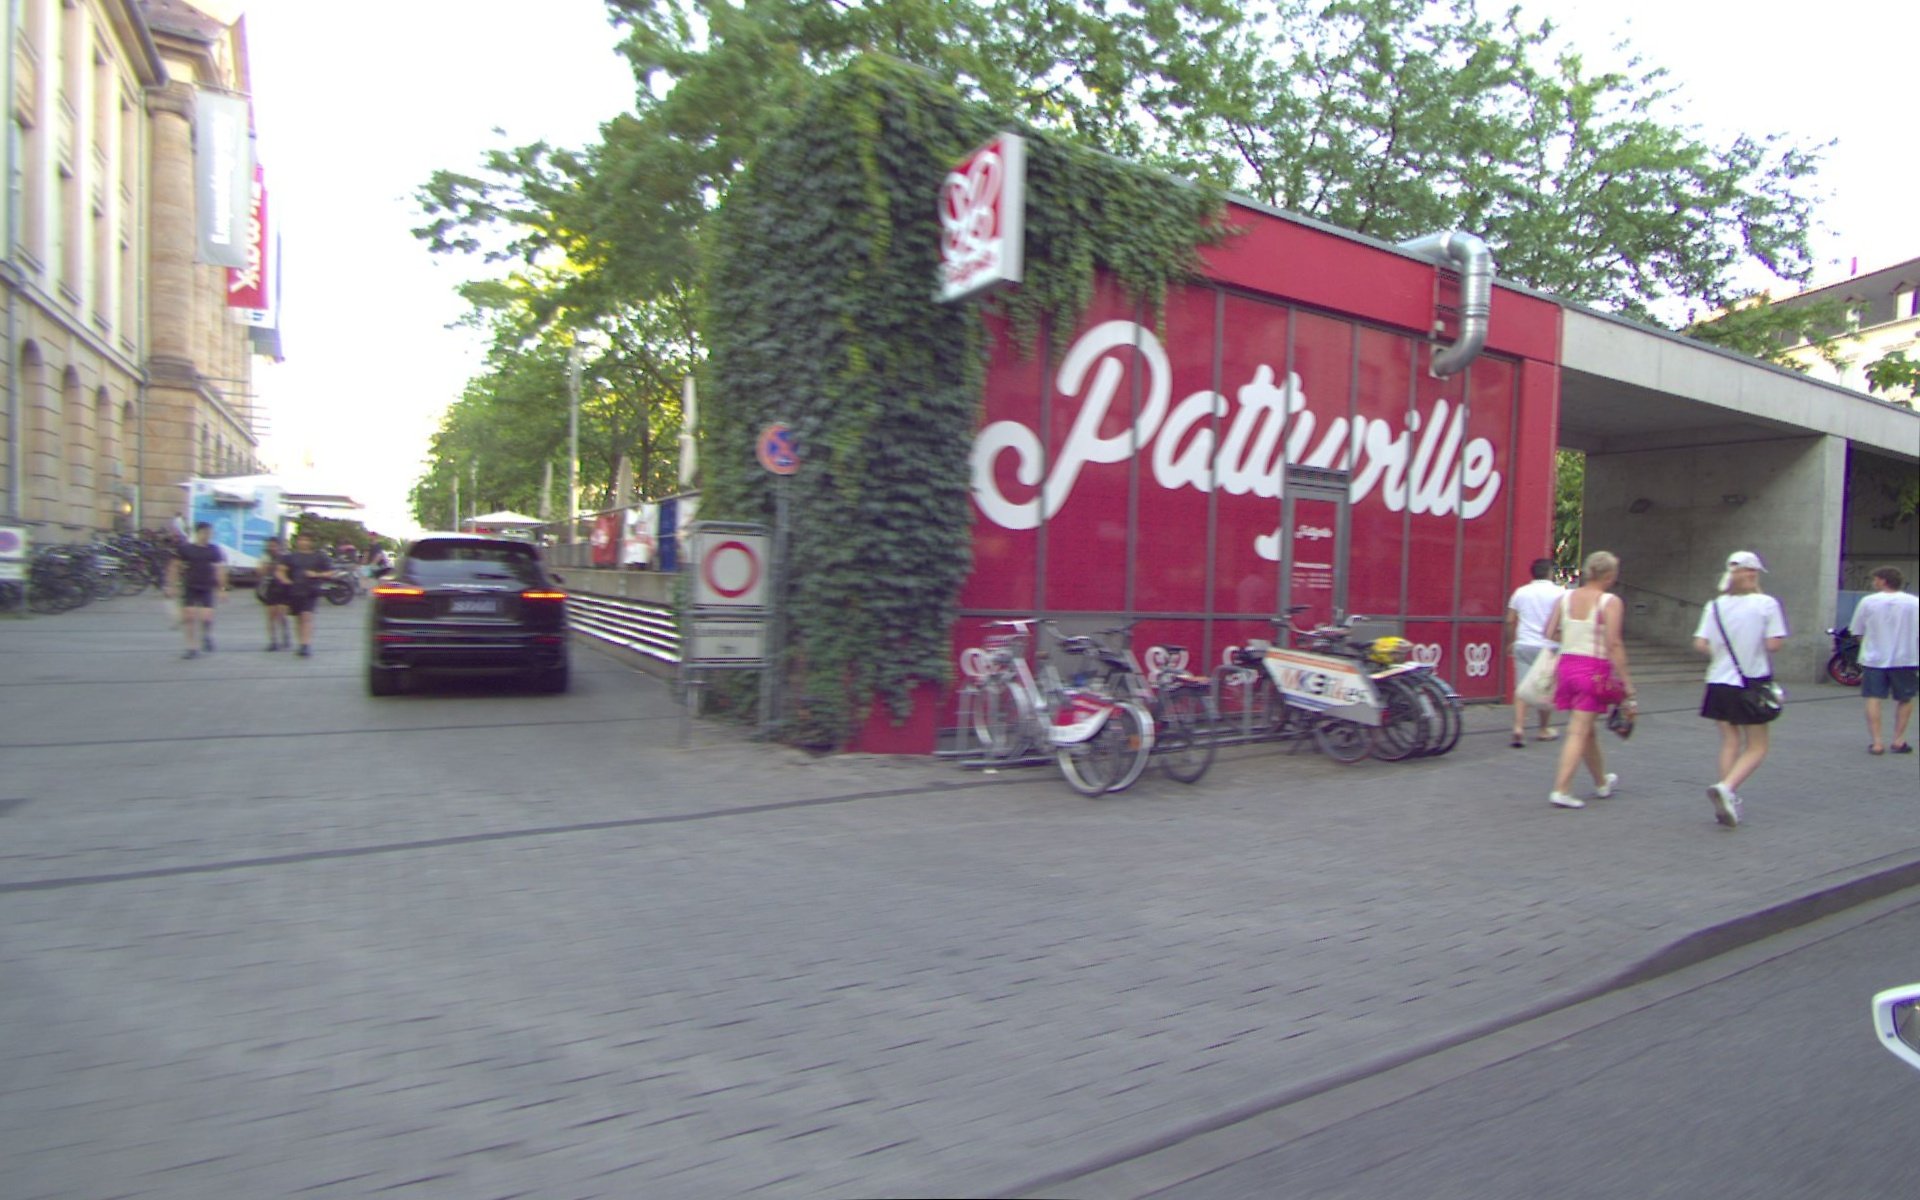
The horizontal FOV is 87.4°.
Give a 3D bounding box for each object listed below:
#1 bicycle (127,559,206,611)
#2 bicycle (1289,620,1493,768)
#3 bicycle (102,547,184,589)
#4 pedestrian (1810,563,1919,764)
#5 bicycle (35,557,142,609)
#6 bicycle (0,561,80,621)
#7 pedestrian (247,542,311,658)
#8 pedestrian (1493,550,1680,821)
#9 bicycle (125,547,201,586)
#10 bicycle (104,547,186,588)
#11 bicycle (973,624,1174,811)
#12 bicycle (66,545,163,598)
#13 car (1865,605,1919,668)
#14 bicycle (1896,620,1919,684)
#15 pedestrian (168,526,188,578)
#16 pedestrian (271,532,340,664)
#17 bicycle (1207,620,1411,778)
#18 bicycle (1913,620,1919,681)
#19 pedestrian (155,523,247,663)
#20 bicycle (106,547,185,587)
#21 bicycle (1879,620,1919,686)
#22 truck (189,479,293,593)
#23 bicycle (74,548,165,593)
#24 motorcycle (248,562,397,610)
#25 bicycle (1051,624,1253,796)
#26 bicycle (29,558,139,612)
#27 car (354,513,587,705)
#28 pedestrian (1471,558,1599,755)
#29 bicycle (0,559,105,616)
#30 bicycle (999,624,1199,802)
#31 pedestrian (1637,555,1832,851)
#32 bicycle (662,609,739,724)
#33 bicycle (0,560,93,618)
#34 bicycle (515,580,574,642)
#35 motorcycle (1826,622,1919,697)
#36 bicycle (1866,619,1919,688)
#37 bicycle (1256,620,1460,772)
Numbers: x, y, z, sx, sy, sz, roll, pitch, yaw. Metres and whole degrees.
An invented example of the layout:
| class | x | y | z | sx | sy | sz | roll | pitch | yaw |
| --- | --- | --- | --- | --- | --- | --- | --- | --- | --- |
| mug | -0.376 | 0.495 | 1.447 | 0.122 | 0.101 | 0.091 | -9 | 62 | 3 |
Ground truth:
| class | x | y | z | sx | sy | sz | roll | pitch | yaw |
| --- | --- | --- | --- | --- | --- | --- | --- | --- | --- |
| bicycle | -18.520 | -0.365 | 23.449 | 1.764 | 1.122 | 0.500 | 3 | 2 | 16 |
| bicycle | 3.874 | 0.797 | 9.200 | 0.494 | 1.122 | 1.787 | 1 | 2 | -27 |
| bicycle | -22.977 | -0.894 | 28.273 | 1.787 | 1.122 | 0.494 | 0 | 3 | -43 |
| pedestrian | 9.040 | 0.584 | 9.812 | 0.997 | 1.837 | 0.737 | 0 | 4 | -31 |
| bicycle | -19.563 | -0.371 | 22.570 | 0.493 | 1.122 | 1.788 | 4 | 3 | 45 |
| bicycle | -18.115 | -0.177 | 19.264 | 1.777 | 1.122 | 0.496 | 1 | 3 | -28 |
| pedestrian | -10.090 | -0.002 | 14.901 | 0.709 | 1.679 | 0.634 | 0 | 1 | -28 |
| pedestrian | 4.411 | 0.550 | 7.094 | 0.837 | 1.773 | 0.749 | 0 | 3 | -31 |
| bicycle | -24.124 | -1.014 | 30.426 | 1.786 | 1.122 | 0.494 | 0 | 3 | -42 |
| bicycle | -23.506 | -0.934 | 28.998 | 1.781 | 1.122 | 0.495 | 1 | 3 | -34 |
| bicycle | 0.772 | 0.785 | 7.410 | 0.494 | 1.122 | 1.785 | 1 | 1 | -30 |
| bicycle | -20.613 | -0.685 | 24.515 | 1.769 | 1.222 | 0.499 | 2 | 2 | -12 |
| car | 24.886 | 0.922 | 24.480 | 1.874 | 1.521 | 3.956 | 0 | 1 | -38 |
| bicycle | 17.763 | 0.970 | 17.672 | 0.495 | 1.122 | 1.782 | 0 | 3 | -34 |
| pedestrian | -26.072 | -1.599 | 33.497 | 0.472 | 1.708 | 0.537 | 1 | 2 | -35 |
| pedestrian | -9.358 | -0.028 | 14.389 | 0.760 | 1.825 | 0.623 | 0 | 1 | -28 |
| bicycle | 2.935 | 0.780 | 8.648 | 0.494 | 1.122 | 1.787 | 1 | 2 | -27 |
| bicycle | 18.379 | 0.977 | 17.997 | 0.495 | 1.122 | 1.783 | 1 | 3 | -32 |
| pedestrian | -10.290 | -0.091 | 13.648 | 0.861 | 1.825 | 0.782 | 0 | 1 | -28 |
| bicycle | -24.036 | -0.972 | 29.659 | 1.786 | 1.122 | 0.494 | 0 | 3 | -42 |
| bicycle | 17.118 | 0.957 | 17.309 | 0.494 | 1.122 | 1.787 | 1 | 3 | -27 |
| truck | -20.148 | -1.784 | 28.305 | 1.976 | 2.918 | 3.967 | 1 | 3 | -30 |
| bicycle | -22.105 | -0.774 | 26.458 | 1.782 | 1.122 | 0.495 | 1 | 3 | -36 |
| motorcycle | -15.164 | -0.322 | 24.019 | 2.836 | 1.087 | 1.046 | 1 | 1 | -22 |
| bicycle | 1.455 | 0.796 | 7.973 | 0.494 | 1.122 | 1.785 | 1 | 1 | -31 |
| bicycle | -19.172 | -0.325 | 22.009 | 1.788 | 1.122 | 0.493 | 0 | 3 | -45 |
| car | -5.704 | 0.066 | 11.677 | 2.041 | 1.783 | 4.203 | 0 | 1 | -28 |
| pedestrian | 5.488 | 0.510 | 9.601 | 0.839 | 1.778 | 0.713 | 1 | 1 | -32 |
| bicycle | -18.667 | -0.255 | 20.510 | 1.777 | 1.122 | 0.496 | 1 | 3 | -28 |
| bicycle | 1.002 | 0.788 | 7.698 | 0.494 | 1.122 | 1.785 | 1 | 1 | -31 |
| pedestrian | 5.033 | 0.614 | 6.534 | 0.974 | 1.774 | 0.645 | 0 | 2 | -31 |
| bicycle | -2.704 | 0.642 | 10.362 | 0.366 | 1.027 | 1.652 | 1 | 1 | -28 |
| bicycle | -18.404 | -0.216 | 19.909 | 1.777 | 1.122 | 0.496 | 1 | 3 | -28 |
| bicycle | -8.188 | 0.202 | 19.761 | 0.496 | 1.122 | 1.777 | 0 | 2 | -42 |
| motorcycle | 15.344 | 0.960 | 16.377 | 0.750 | 1.078 | 1.804 | 2 | 2 | -4 |
| bicycle | 16.617 | 0.946 | 17.003 | 0.494 | 1.122 | 1.785 | 1 | 3 | -30 |
| bicycle | 3.479 | 0.789 | 8.955 | 0.494 | 1.122 | 1.787 | 1 | 2 | -27 |
